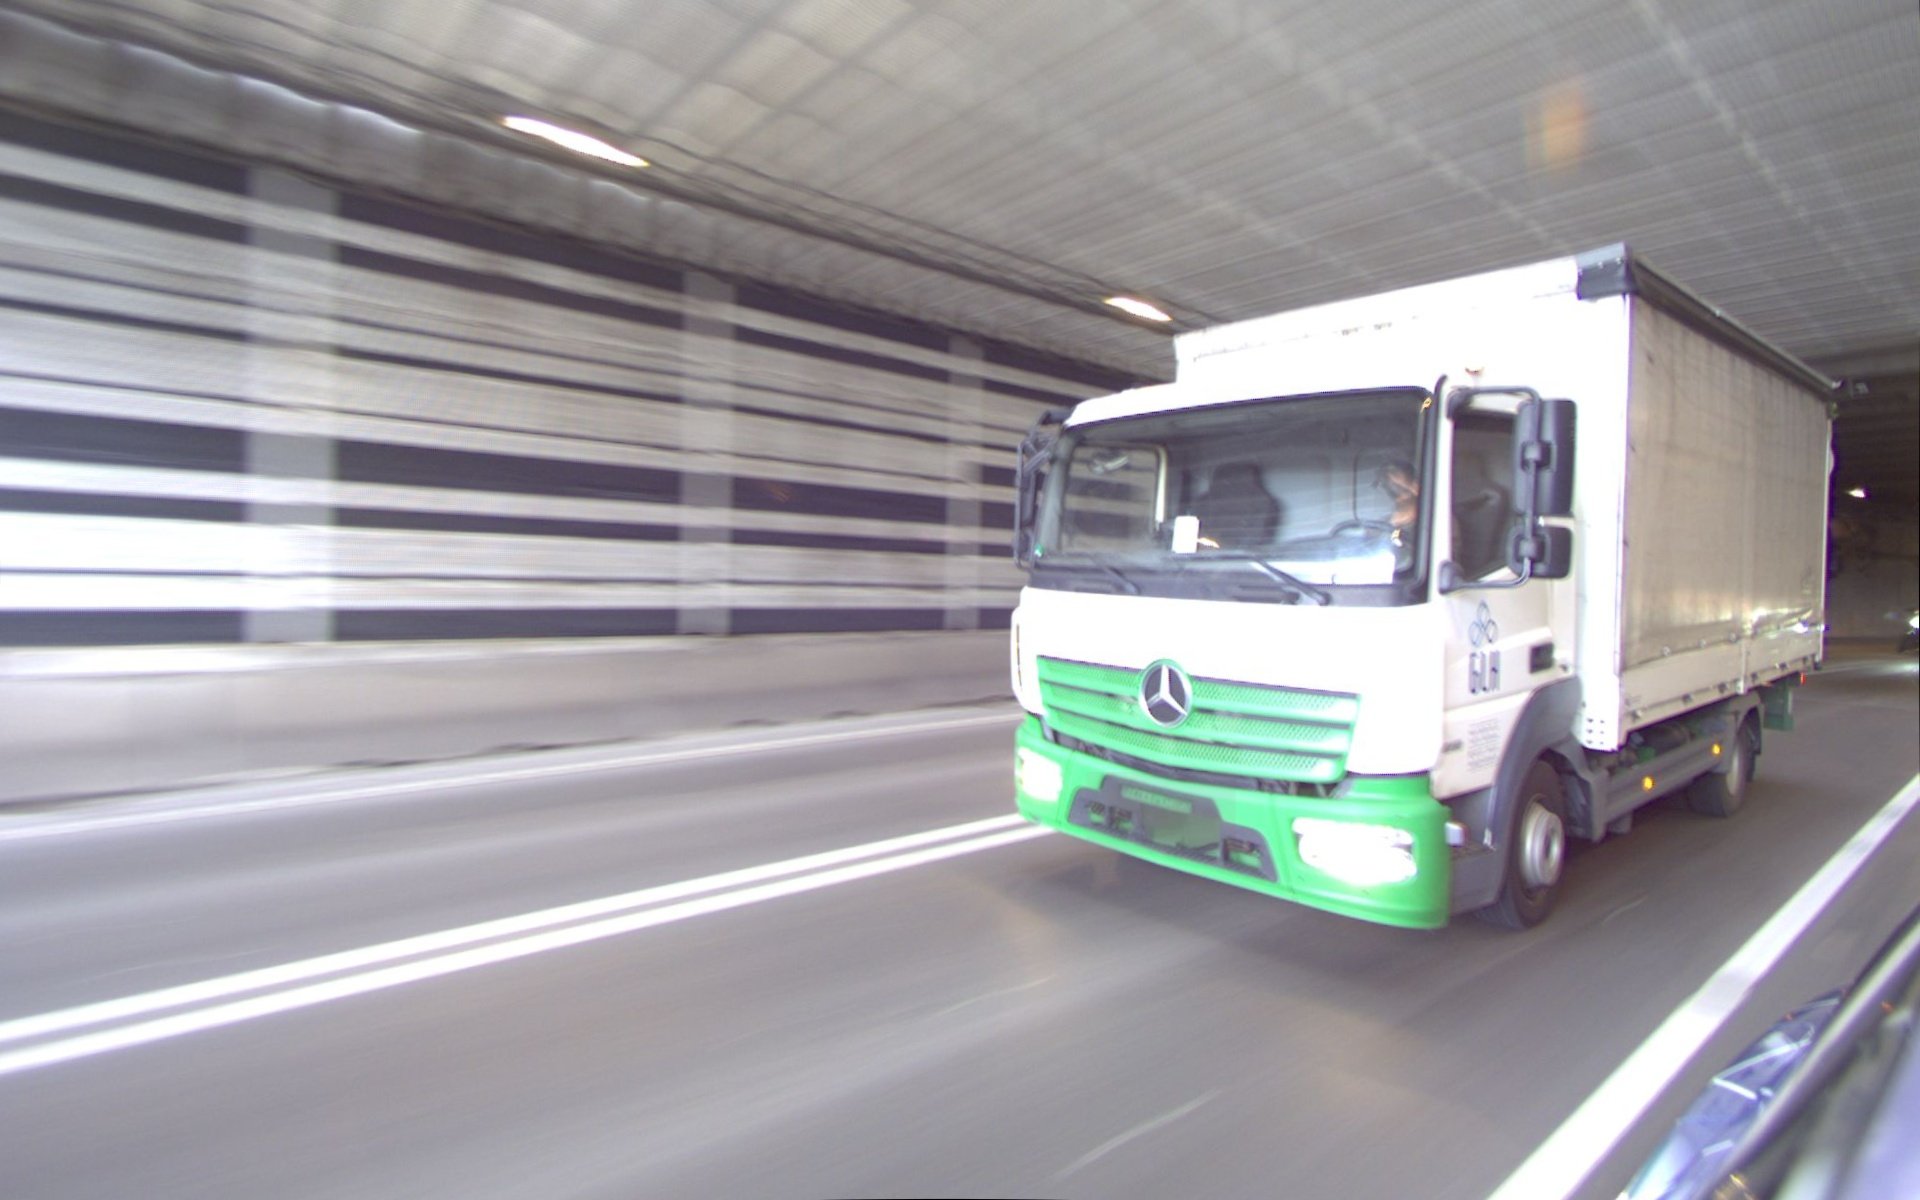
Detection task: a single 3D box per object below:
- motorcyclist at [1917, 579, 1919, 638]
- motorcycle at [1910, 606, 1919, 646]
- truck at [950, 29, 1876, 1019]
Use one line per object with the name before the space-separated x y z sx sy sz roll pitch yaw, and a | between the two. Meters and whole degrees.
motorcyclist | 24.990 0.221 25.704 0.771 1.510 0.748 0 -1 -24
motorcycle | 24.959 0.658 25.703 1.797 0.988 0.551 0 -1 -25
truck | 3.598 -0.283 6.712 7.283 3.279 2.636 0 1 -40
